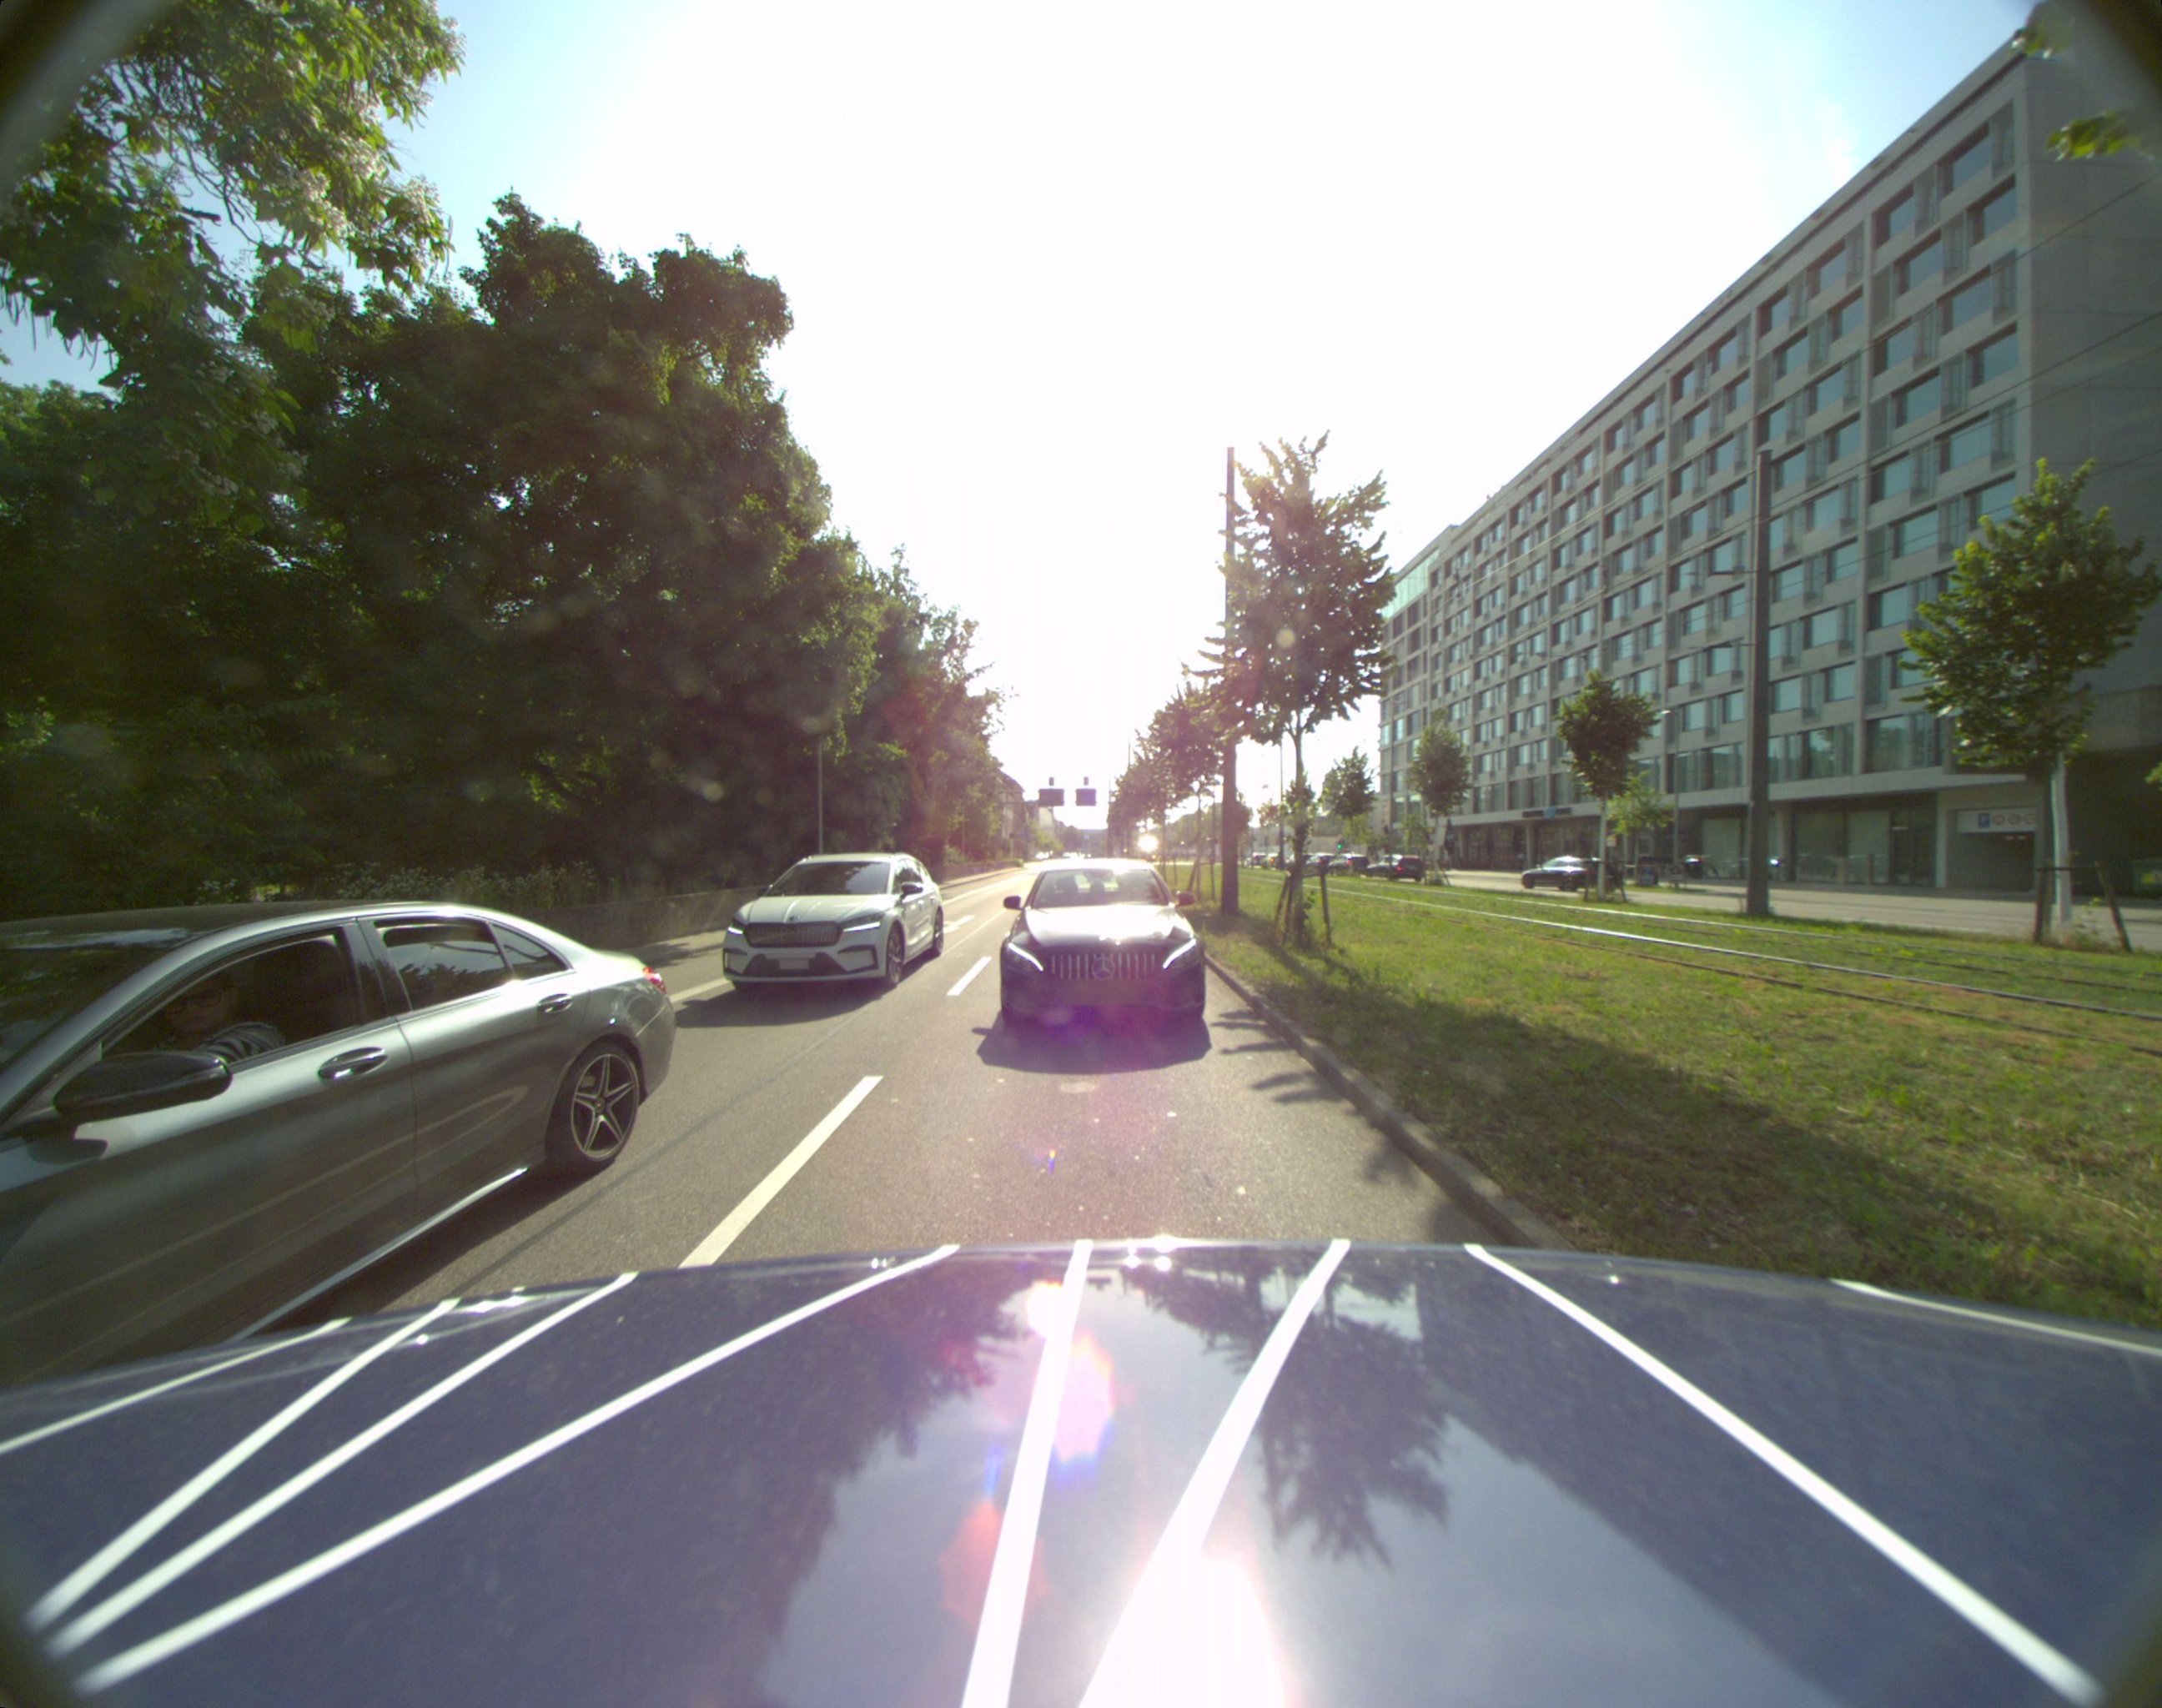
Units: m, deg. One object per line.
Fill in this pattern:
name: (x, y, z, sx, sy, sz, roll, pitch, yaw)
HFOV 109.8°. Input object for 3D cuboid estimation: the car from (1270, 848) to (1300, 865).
car: (18.102, 0.229, 67.486, 1.811, 1.466, 4.000, 0, 1, 3)

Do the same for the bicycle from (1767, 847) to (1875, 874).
bicycle: (37.907, 0.331, 38.987, 3.994, 1.358, 1.127, 0, 1, 10)

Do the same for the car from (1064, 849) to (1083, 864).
car: (-0.847, 0.289, 84.845, 1.998, 1.630, 4.000, 0, 1, 1)

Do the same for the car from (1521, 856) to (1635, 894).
car: (21.202, 0.852, 32.688, 1.999, 1.482, 4.418, 0, 1, 0)

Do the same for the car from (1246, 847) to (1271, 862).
car: (18.194, 0.058, 78.018, 1.787, 1.516, 4.000, 0, 1, 1)

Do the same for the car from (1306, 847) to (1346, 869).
car: (17.917, 0.268, 55.755, 1.811, 1.565, 4.000, 0, 1, 3)

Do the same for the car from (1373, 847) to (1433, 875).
car: (17.610, 0.359, 41.746, 1.811, 1.472, 4.000, 0, 1, 3)

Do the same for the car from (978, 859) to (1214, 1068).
car: (0.167, 0.857, 8.134, 1.759, 1.437, 4.617, -2, 1, 1)

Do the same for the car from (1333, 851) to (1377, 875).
car: (17.751, 0.545, 49.376, 1.745, 1.478, 3.642, 0, 1, 3)

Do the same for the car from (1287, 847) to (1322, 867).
car: (17.945, 0.190, 61.232, 1.811, 1.565, 4.000, 0, 1, 3)

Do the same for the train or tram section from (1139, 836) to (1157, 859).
train or tram section: (10.445, -1.042, 119.112, 2.500, 3.409, 6.669, 0, 1, 2)

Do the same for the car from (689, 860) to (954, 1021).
car: (-3.035, 0.911, 9.972, 1.897, 1.561, 4.250, -1, 1, 1)
